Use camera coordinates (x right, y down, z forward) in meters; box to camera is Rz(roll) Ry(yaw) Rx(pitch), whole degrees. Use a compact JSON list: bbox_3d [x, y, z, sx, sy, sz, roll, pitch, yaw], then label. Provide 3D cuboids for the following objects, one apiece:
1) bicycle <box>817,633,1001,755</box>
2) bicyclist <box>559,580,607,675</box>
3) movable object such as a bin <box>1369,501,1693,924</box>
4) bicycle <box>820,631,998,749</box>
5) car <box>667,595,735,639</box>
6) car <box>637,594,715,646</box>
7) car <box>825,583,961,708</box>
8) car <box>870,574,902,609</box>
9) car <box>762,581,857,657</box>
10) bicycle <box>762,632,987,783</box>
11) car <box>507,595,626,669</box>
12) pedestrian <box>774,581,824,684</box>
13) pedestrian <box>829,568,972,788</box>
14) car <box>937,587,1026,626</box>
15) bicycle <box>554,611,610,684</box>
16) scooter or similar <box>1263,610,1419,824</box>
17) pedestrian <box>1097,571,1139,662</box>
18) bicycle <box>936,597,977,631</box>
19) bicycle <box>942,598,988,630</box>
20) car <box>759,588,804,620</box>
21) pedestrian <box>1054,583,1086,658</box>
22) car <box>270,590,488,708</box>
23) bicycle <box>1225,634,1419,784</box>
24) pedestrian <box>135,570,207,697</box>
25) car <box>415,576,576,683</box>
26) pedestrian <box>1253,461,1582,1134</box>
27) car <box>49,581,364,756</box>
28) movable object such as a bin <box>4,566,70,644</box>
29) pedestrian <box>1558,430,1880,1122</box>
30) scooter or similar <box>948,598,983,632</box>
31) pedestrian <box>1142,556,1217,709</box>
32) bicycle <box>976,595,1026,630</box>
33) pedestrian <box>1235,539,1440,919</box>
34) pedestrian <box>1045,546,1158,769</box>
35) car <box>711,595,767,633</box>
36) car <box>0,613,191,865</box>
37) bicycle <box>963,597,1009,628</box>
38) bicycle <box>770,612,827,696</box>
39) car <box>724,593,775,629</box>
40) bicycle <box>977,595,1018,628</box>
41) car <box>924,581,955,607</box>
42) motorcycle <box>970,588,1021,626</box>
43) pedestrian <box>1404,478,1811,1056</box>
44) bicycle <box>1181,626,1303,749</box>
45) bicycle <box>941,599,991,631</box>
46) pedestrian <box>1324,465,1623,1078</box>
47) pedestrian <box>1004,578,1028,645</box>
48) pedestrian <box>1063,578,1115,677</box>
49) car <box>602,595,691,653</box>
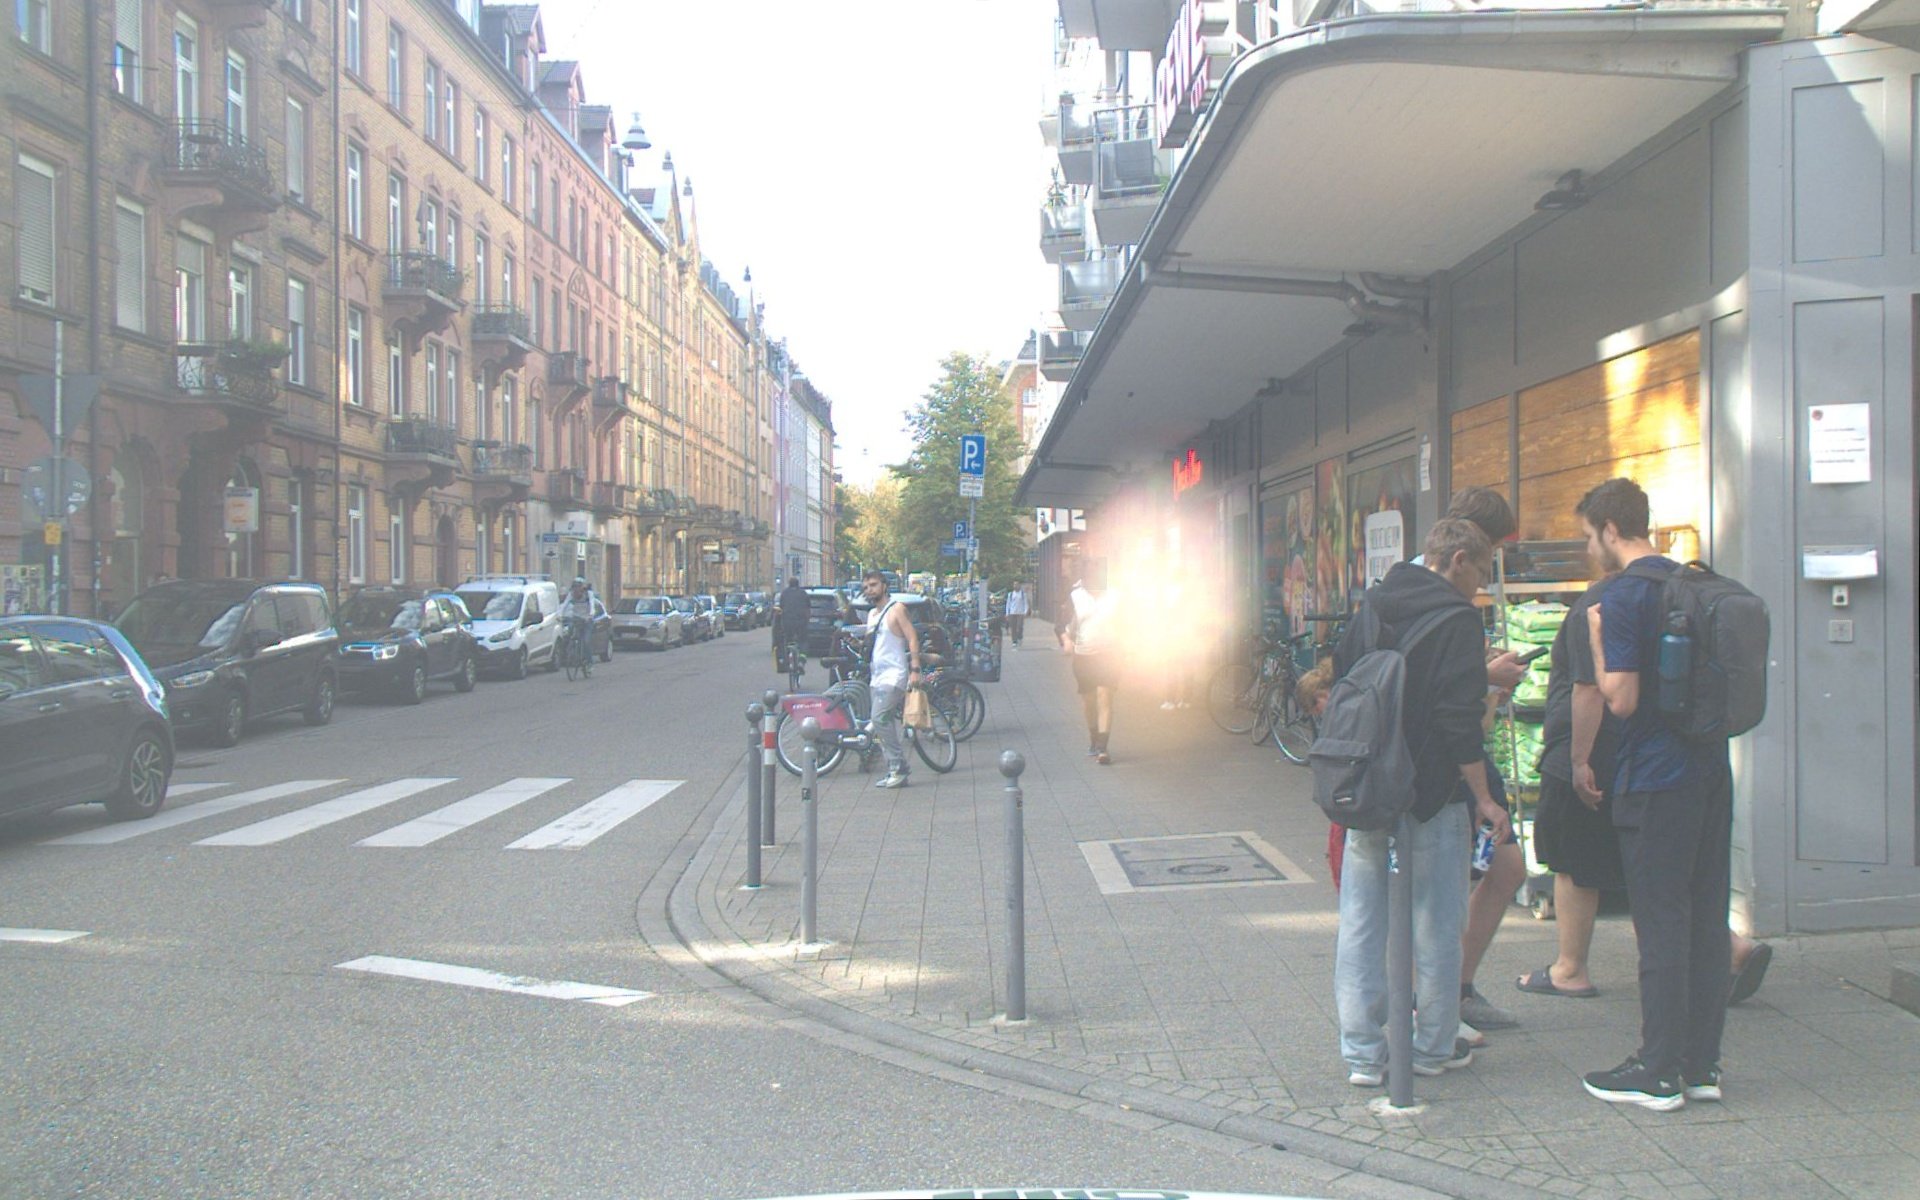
[{"bbox_3d":[-0.516,0.935,16.653,1.755,1.089,0.568,-3,1,-10],"label":"bicycle"},{"bbox_3d":[-6.891,0.491,30.253,0.687,1.707,1.111,0,0,-4],"label":"bicyclist"},{"bbox_3d":[2.705,0.467,8.180,0.763,1.775,2.423,-1,0,0],"label":"movable object such as a bin"},{"bbox_3d":[-0.535,0.923,17.230,1.755,1.089,0.585,-3,1,-10],"label":"bicycle"},{"bbox_3d":[-8.665,0.554,55.529,1.655,1.411,3.867,0,0,0],"label":"car"},{"bbox_3d":[-8.754,0.583,51.212,1.706,1.509,3.983,0,0,0],"label":"car"},{"bbox_3d":[-0.934,0.616,25.048,1.756,1.633,3.925,-3,1,1],"label":"car"},{"bbox_3d":[-4.374,-0.515,98.345,1.746,2.055,3.887,1,1,-1],"label":"car"},{"bbox_3d":[-3.704,0.455,41.329,1.924,1.771,4.041,1,0,1],"label":"car"},{"bbox_3d":[-0.732,0.917,14.400,1.845,1.145,0.907,-3,1,-2],"label":"bicycle"},{"bbox_3d":[-8.720,0.672,36.940,1.706,1.509,3.983,1,0,-1],"label":"car"},{"bbox_3d":[-2.667,0.524,27.530,0.703,1.679,0.930,1,0,1],"label":"pedestrian"},{"bbox_3d":[-0.492,0.609,13.340,1.002,1.700,0.801,0,-1,-14],"label":"pedestrian"},{"bbox_3d":[0.950,0.296,74.227,3.692,1.573,1.726,-2,-1,-10],"label":"car"},{"bbox_3d":[-6.887,0.844,30.220,0.687,1.241,2.115,0,1,-4],"label":"bicycle"},{"bbox_3d":[2.401,0.706,10.544,0.619,1.234,1.255,-2,1,-2],"label":"scooter or similar"},{"bbox_3d":[3.325,0.345,34.788,0.694,1.893,0.643,0,0,29],"label":"pedestrian"},{"bbox_3d":[-0.127,0.528,61.383,1.466,1.166,0.411,-3,1,-5],"label":"bicycle"},{"bbox_3d":[0.202,0.551,65.625,1.757,1.179,0.500,-3,1,3],"label":"bicycle"},{"bbox_3d":[-8.690,0.195,80.678,1.656,1.393,3.867,4,0,0],"label":"car"},{"bbox_3d":[2.460,0.452,36.986,0.630,1.616,0.781,-2,0,2],"label":"pedestrian"},{"bbox_3d":[-8.882,0.690,25.674,1.953,1.666,4.145,0,0,-1],"label":"car"},{"bbox_3d":[2.784,0.806,12.902,0.666,1.061,1.724,-1,-1,-19],"label":"bicycle"},{"bbox_3d":[-11.956,0.498,25.076,0.663,1.872,0.856,2,0,-6],"label":"pedestrian"},{"bbox_3d":[-8.856,0.499,31.929,1.880,1.904,4.436,0,1,-1],"label":"car"},{"bbox_3d":[1.376,0.525,4.950,0.621,1.828,0.711,-2,2,41],"label":"pedestrian"},{"bbox_3d":[-8.723,0.706,19.608,1.724,1.804,4.405,1,0,-1],"label":"car"},{"bbox_3d":[-8.836,0.044,15.838,0.375,0.726,0.475,1,0,-4],"label":"movable object such as a bin"},{"bbox_3d":[2.141,0.471,4.745,0.639,1.828,0.659,-3,1,13],"label":"pedestrian"},{"bbox_3d":[0.206,0.525,59.301,1.183,1.167,0.378,-2,2,32],"label":"scooter or similar"},{"bbox_3d":[2.647,0.379,19.997,0.699,1.777,0.817,-3,1,-2],"label":"pedestrian"},{"bbox_3d":[1.470,0.448,59.604,1.729,1.182,0.650,-3,1,2],"label":"bicycle"},{"bbox_3d":[1.749,0.569,7.745,0.707,1.661,0.712,-3,1,-2],"label":"pedestrian"},{"bbox_3d":[1.266,0.488,14.637,0.865,1.866,1.048,-3,0,8],"label":"pedestrian"},{"bbox_3d":[-8.558,0.511,64.255,1.655,1.411,3.867,0,0,0],"label":"car"},{"bbox_3d":[-6.482,0.841,10.008,1.755,1.463,4.000,-2,-1,0],"label":"car"},{"bbox_3d":[1.020,0.491,65.993,1.759,1.179,0.500,-2,1,27],"label":"bicycle"},{"bbox_3d":[-2.671,0.870,27.459,0.703,1.296,1.884,1,1,1],"label":"bicycle"},{"bbox_3d":[-8.911,0.431,70.323,1.655,1.462,3.867,0,0,0],"label":"car"},{"bbox_3d":[1.387,0.424,61.434,1.464,1.166,0.411,-3,1,0],"label":"bicycle"},{"bbox_3d":[-1.290,-0.399,107.351,1.890,1.666,4.000,1,1,1],"label":"car"},{"bbox_3d":[1.563,0.293,71.902,2.105,1.557,0.686,-3,1,5],"label":"motorcycle"},{"bbox_3d":[2.204,0.514,5.764,0.834,1.777,1.046,-3,1,-11],"label":"pedestrian"},{"bbox_3d":[2.662,0.805,15.804,0.727,1.033,1.782,-3,0,-3],"label":"bicycle"},{"bbox_3d":[0.219,0.555,60.012,1.731,1.075,0.411,-3,1,-5],"label":"bicycle"},{"bbox_3d":[1.677,0.508,5.375,0.700,1.828,0.631,-3,1,33],"label":"pedestrian"},{"bbox_3d":[1.489,0.298,44.293,0.599,1.756,1.127,-1,1,1],"label":"pedestrian"},{"bbox_3d":[2.129,0.450,27.423,0.807,1.616,0.781,-1,0,2],"label":"pedestrian"},{"bbox_3d":[-8.717,0.639,46.279,1.706,1.509,3.983,0,0,0],"label":"car"}]
